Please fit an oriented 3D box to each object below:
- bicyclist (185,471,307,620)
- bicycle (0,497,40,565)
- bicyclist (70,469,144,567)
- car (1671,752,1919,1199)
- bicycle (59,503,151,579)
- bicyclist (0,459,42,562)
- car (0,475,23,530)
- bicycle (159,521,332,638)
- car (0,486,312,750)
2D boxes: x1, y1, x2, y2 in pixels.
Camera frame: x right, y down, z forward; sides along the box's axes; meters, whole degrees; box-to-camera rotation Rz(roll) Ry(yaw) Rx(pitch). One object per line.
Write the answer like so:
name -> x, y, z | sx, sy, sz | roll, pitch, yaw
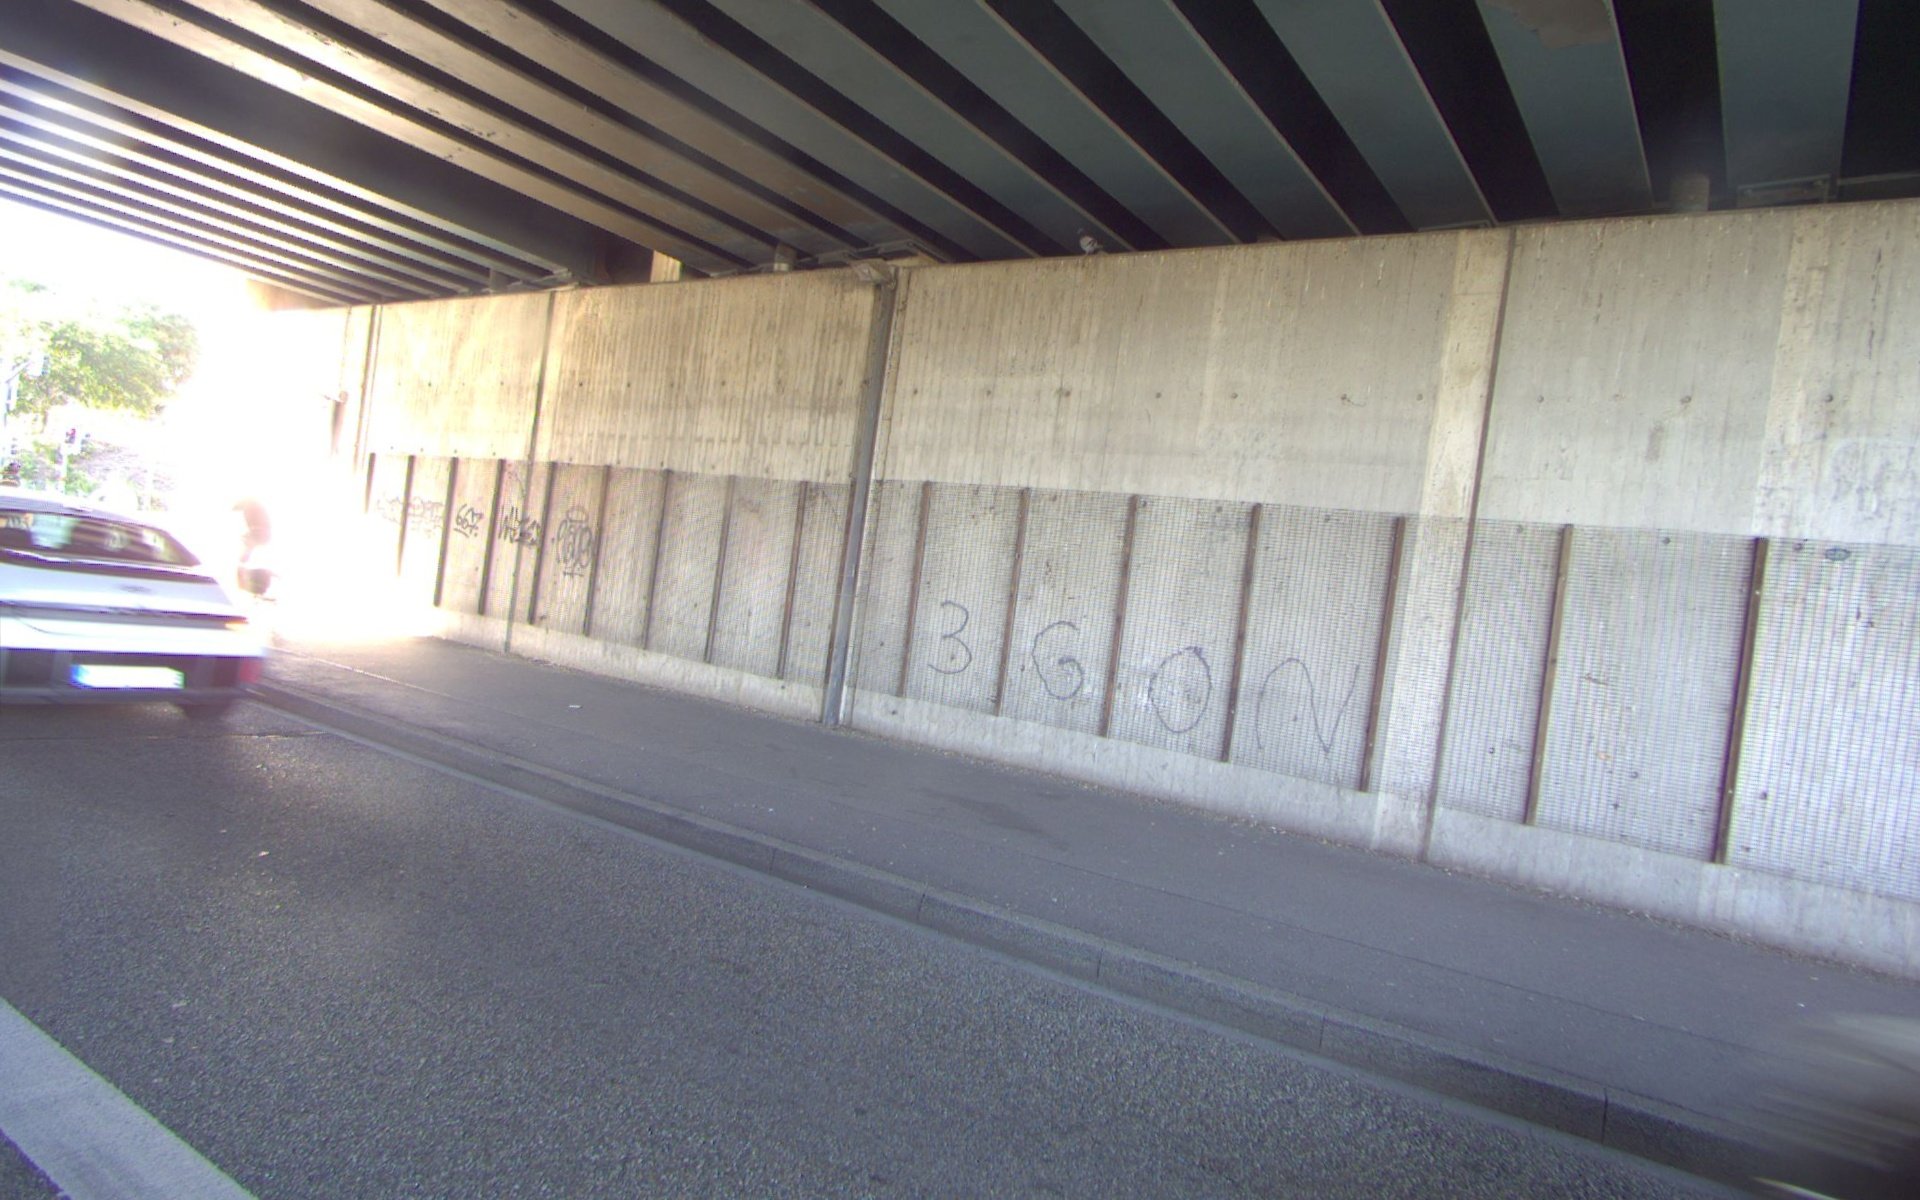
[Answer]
bicyclist -> -8.728, -0.661, 12.307 | 0.871, 1.674, 0.748 | 7, -1, 31
bicycle -> -16.140, -1.198, 16.976 | 1.508, 1.036, 0.676 | 6, -2, 43
bicyclist -> -14.801, -1.420, 17.460 | 0.723, 1.581, 0.670 | 7, 0, 32
car -> 3.449, 1.312, 1.446 | 3.653, 1.473, 1.750 | 7, -1, 29
bicycle -> -14.846, -1.030, 17.462 | 1.577, 1.126, 0.682 | 6, 0, 31
bicyclist -> -16.124, -1.521, 17.001 | 0.635, 1.647, 0.676 | 6, -2, 42
car -> -27.278, -2.858, 26.834 | 1.818, 1.480, 3.873 | 8, -2, -20
bicycle -> -8.796, -0.266, 12.344 | 2.428, 1.161, 0.766 | 8, 3, 31
car -> -6.986, -0.062, 7.369 | 4.585, 1.473, 1.750 | 7, -2, 30
